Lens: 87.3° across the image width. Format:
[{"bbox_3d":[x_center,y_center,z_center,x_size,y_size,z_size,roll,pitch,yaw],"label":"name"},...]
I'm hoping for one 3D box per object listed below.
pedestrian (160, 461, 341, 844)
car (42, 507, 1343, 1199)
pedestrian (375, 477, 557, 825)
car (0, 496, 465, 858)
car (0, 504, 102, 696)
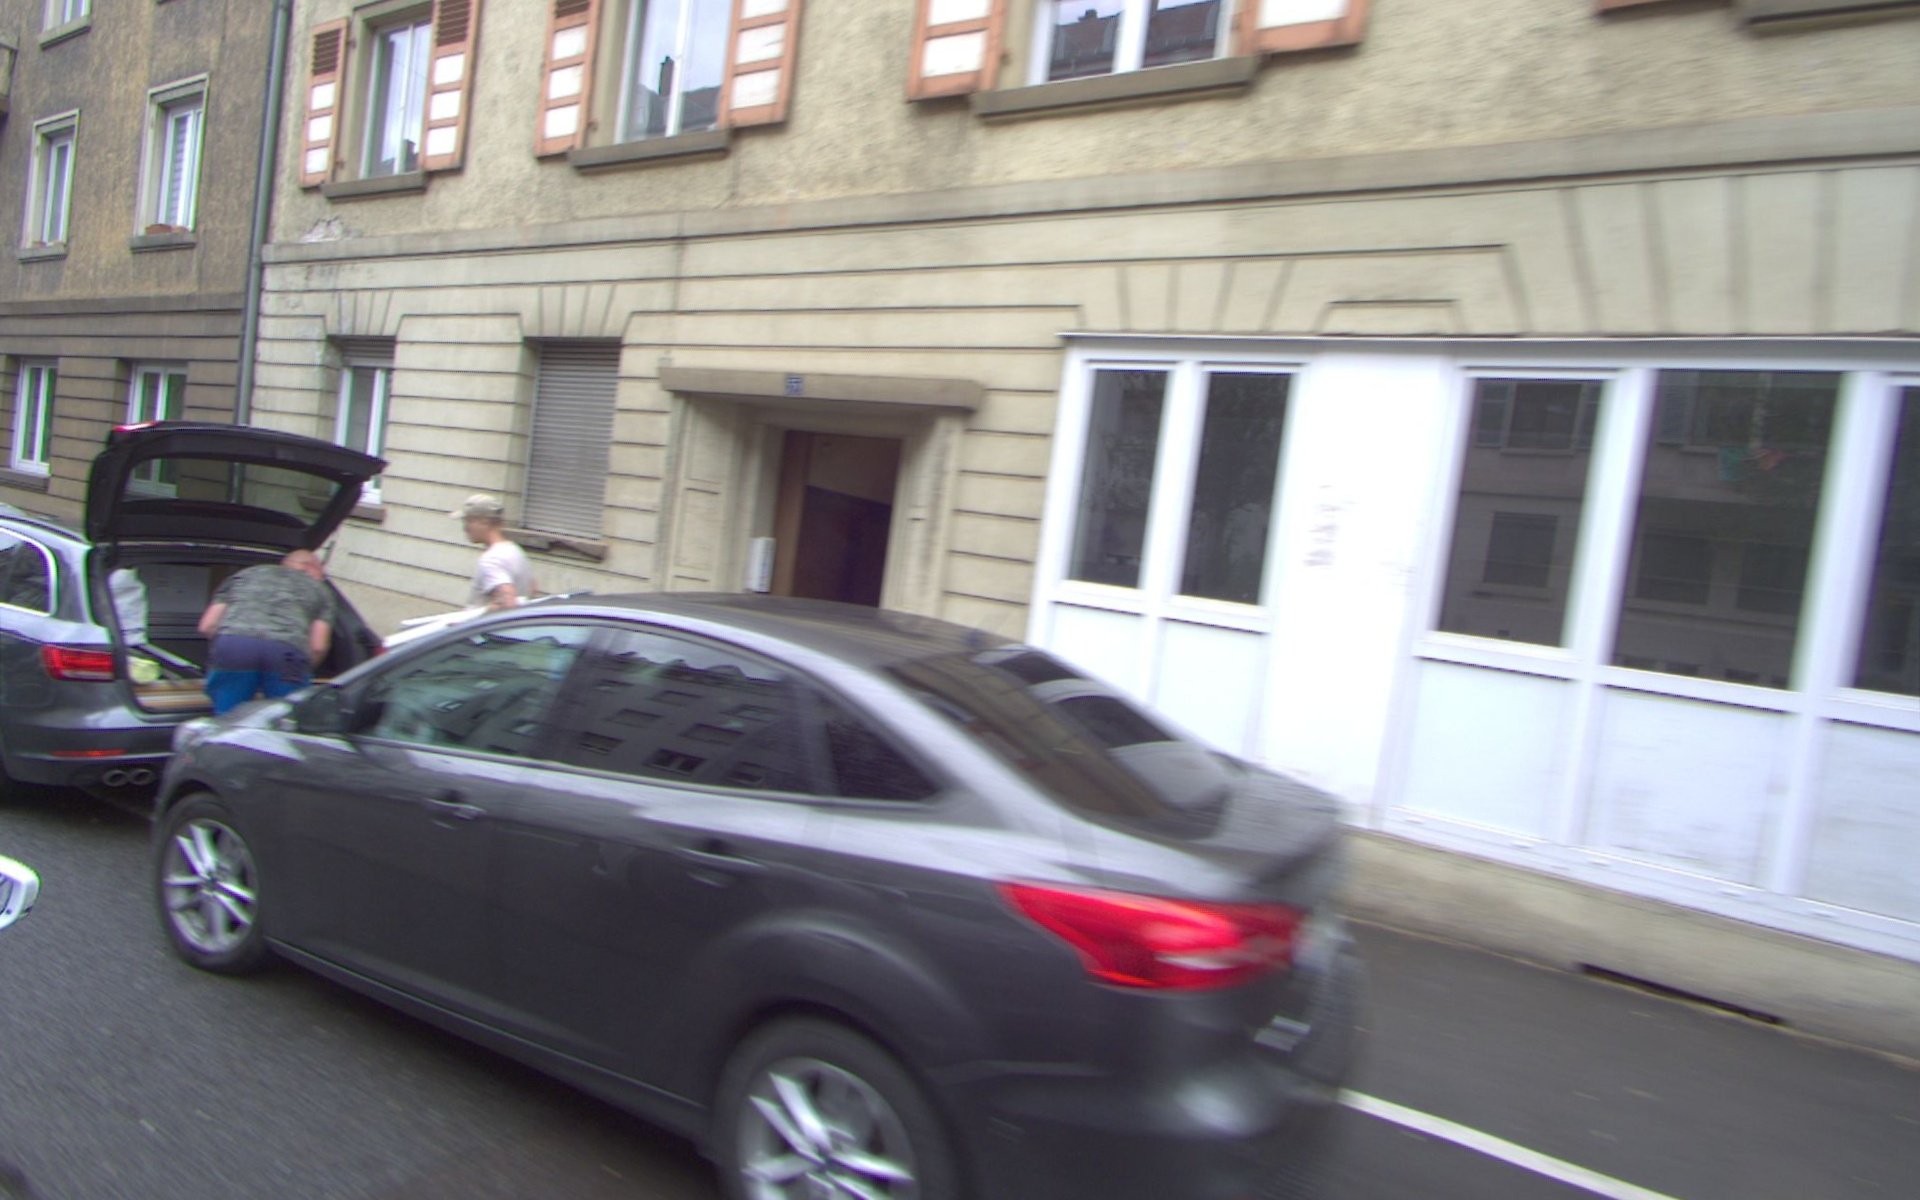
[{"bbox_3d":[-3.443,0.216,4.896,0.625,1.716,0.628,-3,7,-38],"label":"pedestrian"},{"bbox_3d":[-1.034,0.642,3.467,4.117,1.498,1.781,6,0,27],"label":"car"},{"bbox_3d":[-2.741,0.280,5.651,0.702,1.811,0.684,4,2,-15],"label":"pedestrian"},{"bbox_3d":[-5.293,0.193,6.106,4.509,1.498,1.780,6,0,29],"label":"car"},{"bbox_3d":[-9.284,-0.205,8.604,3.671,1.495,1.637,6,-3,29],"label":"car"}]
